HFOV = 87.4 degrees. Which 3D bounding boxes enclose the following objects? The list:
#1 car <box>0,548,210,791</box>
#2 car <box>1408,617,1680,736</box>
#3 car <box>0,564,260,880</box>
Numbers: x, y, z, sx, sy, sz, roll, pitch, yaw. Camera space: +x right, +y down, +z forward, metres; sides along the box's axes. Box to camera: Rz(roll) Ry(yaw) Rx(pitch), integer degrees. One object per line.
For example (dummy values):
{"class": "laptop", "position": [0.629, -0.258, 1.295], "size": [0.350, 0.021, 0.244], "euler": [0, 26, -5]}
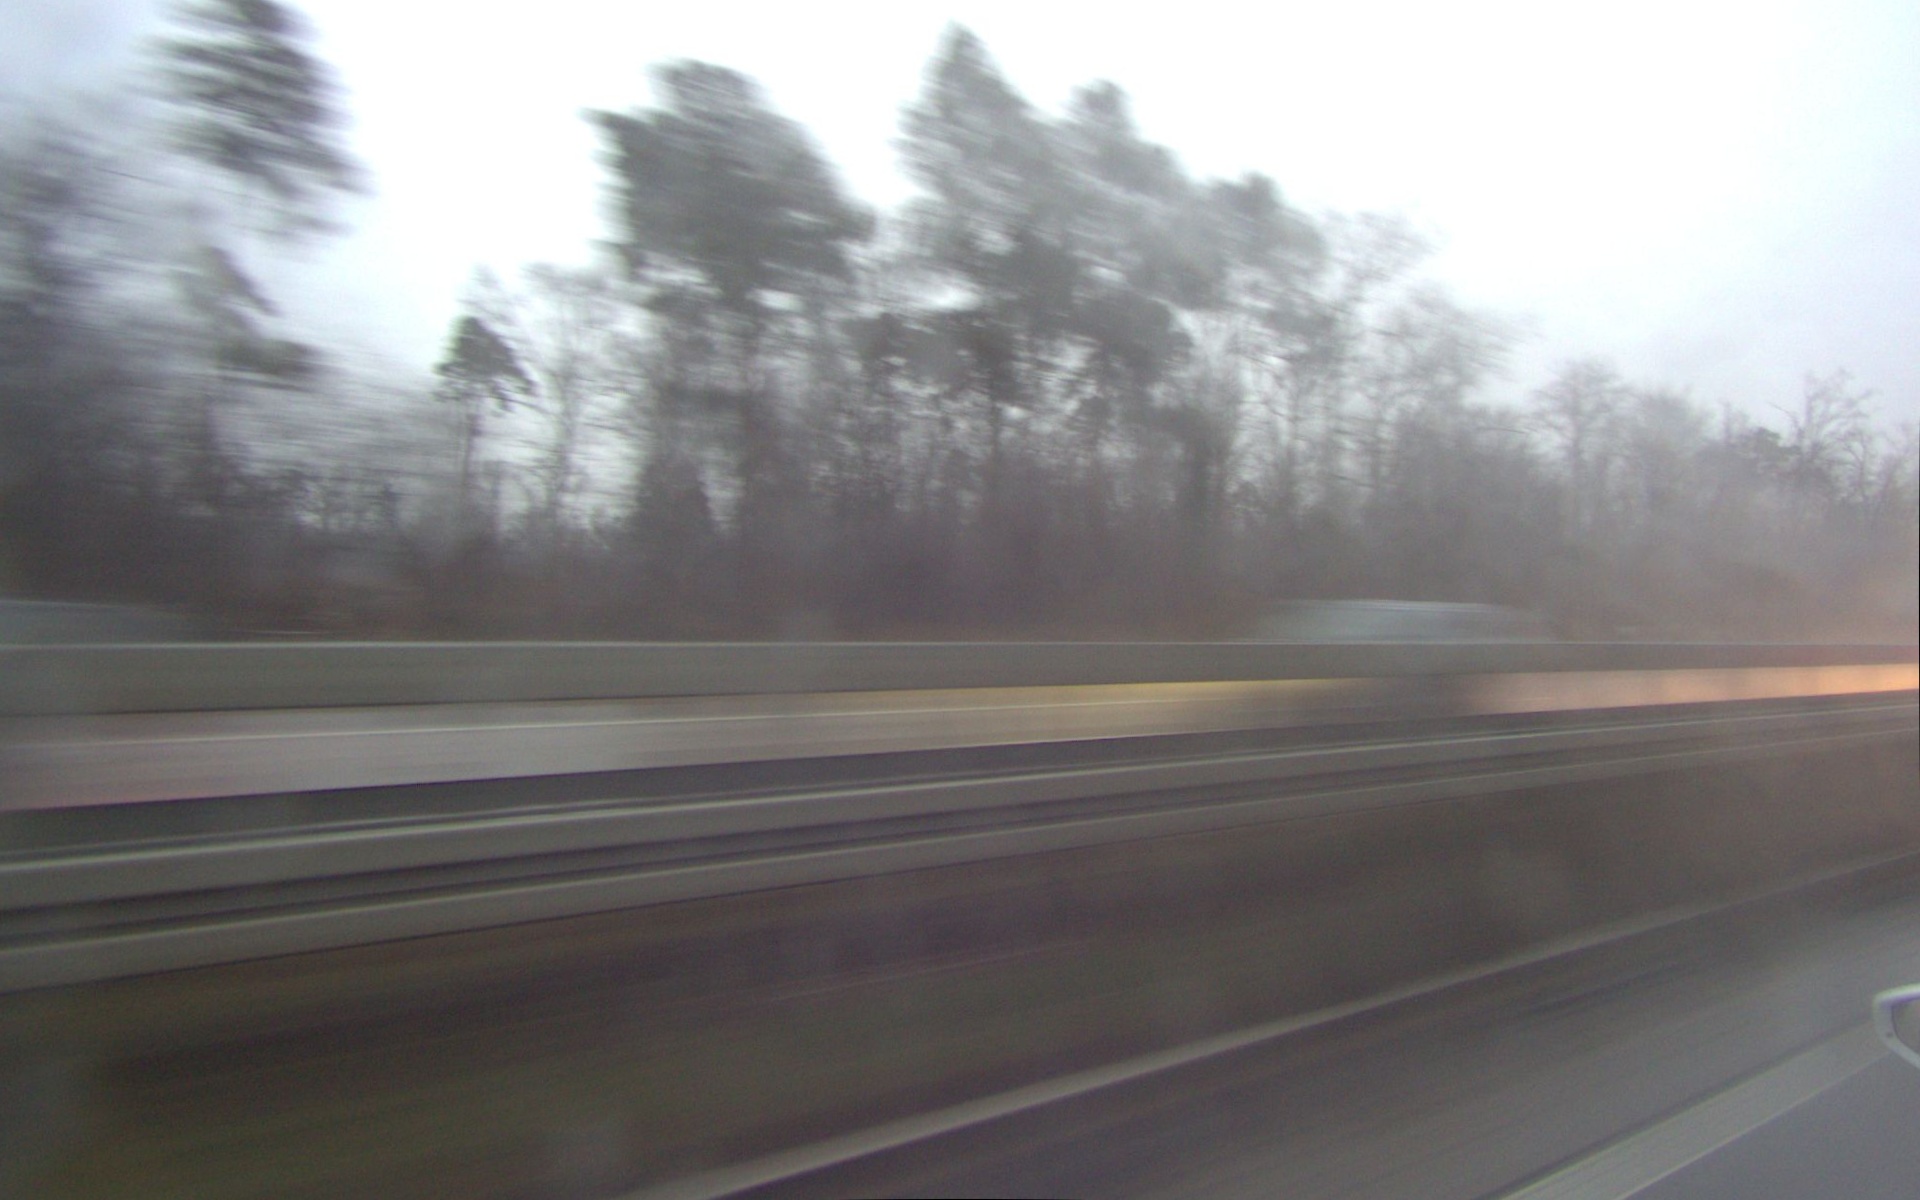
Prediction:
{"class": "car", "position": [-8.577, 0.504, 7.954], "size": [3.952, 1.831, 1.974], "euler": [1, 0, -29]}
{"class": "car", "position": [8.670, 1.045, 14.820], "size": [4.209, 1.514, 1.668], "euler": [1, 0, -31]}
{"class": "car", "position": [-5.868, 0.581, 5.038], "size": [3.732, 1.549, 1.421], "euler": [1, 0, -31]}
